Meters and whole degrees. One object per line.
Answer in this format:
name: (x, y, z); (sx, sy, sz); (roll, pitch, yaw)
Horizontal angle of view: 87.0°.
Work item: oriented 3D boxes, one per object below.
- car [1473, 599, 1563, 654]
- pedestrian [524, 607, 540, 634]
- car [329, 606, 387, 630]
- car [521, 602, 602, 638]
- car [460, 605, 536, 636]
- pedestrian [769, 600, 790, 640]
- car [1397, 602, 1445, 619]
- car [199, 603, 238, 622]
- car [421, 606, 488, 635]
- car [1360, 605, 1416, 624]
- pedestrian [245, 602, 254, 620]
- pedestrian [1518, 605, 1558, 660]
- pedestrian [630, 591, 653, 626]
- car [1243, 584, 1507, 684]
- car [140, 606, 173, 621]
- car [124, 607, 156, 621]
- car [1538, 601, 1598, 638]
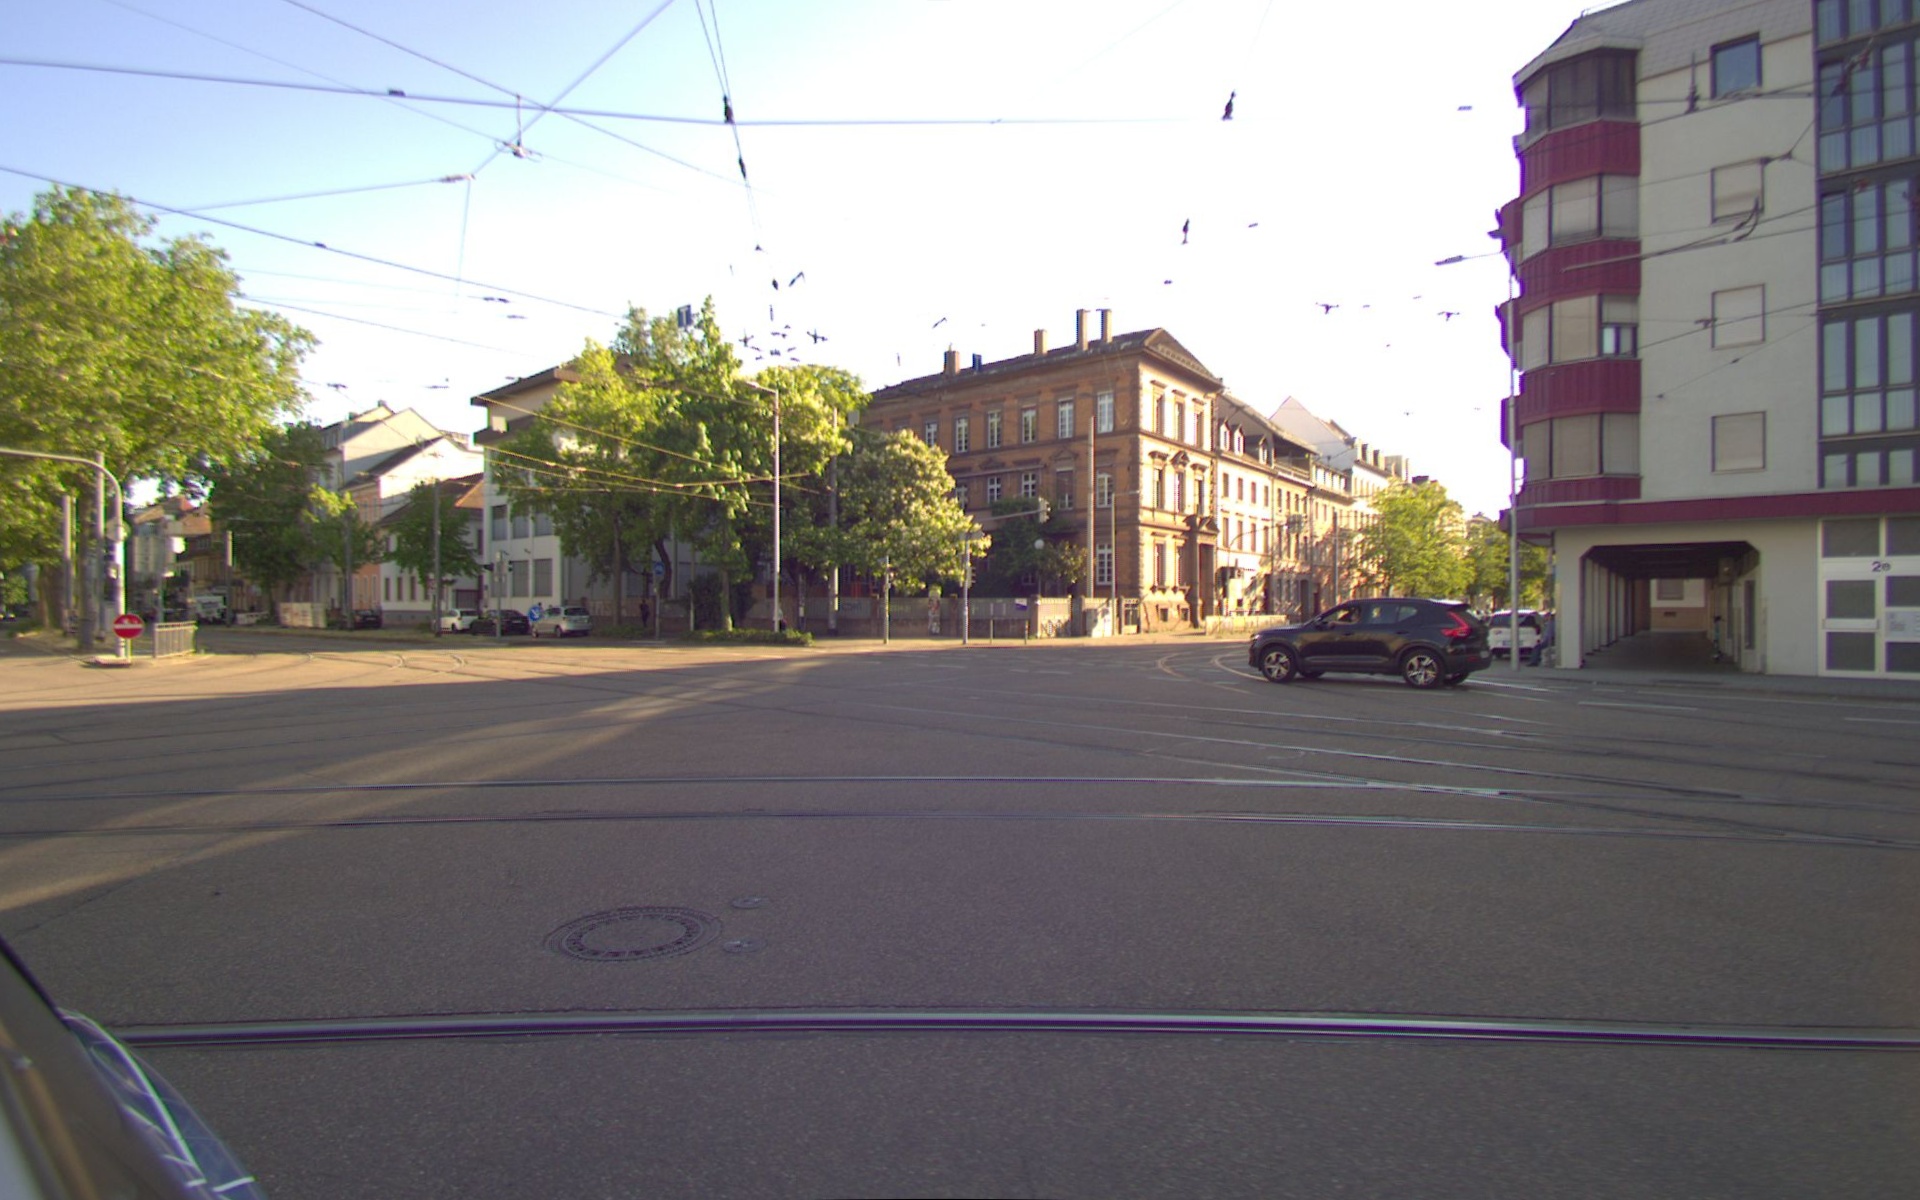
car: (17.141, 0.772, 31.007); (1.996, 1.567, 3.952); (0, 0, 35)
pedestrian: (-24.651, 1.158, 58.305); (0.710, 1.540, 0.531); (0, -1, 36)
car: (-42.069, 1.233, 70.666); (4.576, 1.481, 2.061); (0, 2, 41)
car: (-20.157, 0.989, 51.119); (4.096, 1.631, 2.061); (0, 2, 41)
car: (-25.393, 1.105, 55.600); (4.455, 1.513, 2.061); (0, 2, 41)
pedestrian: (-7.806, 0.870, 43.809); (0.631, 1.677, 0.562); (-1, 2, 41)
car: (40.326, 0.885, 88.469); (3.545, 1.412, 1.678); (0, 1, 38)
car: (-72.521, 1.176, 98.952); (4.530, 1.686, 2.061); (0, 2, 41)
car: (-29.704, 1.181, 59.442); (3.995, 1.501, 2.061); (0, 2, 41)
car: (35.134, 1.173, 83.075); (3.990, 1.586, 1.977); (0, 0, 35)
pedestrian: (-72.324, 1.092, 103.043); (0.703, 1.823, 0.555); (0, -1, 35)
pedestrian: (14.911, 0.829, 26.092); (0.834, 1.395, 0.849); (0, -1, 33)
pedestrian: (-16.543, 0.446, 52.569); (1.019, 1.765, 0.726); (-1, -1, 41)
car: (7.792, 0.597, 19.239); (4.259, 1.685, 1.934); (-1, -1, 41)
car: (-90.141, 1.549, 113.514); (4.514, 1.551, 2.061); (0, 2, 41)
car: (-99.459, 1.669, 122.736); (5.102, 1.551, 2.061); (0, 2, 41)
car: (27.582, 0.843, 45.868); (1.996, 1.567, 4.530); (0, 0, 35)
